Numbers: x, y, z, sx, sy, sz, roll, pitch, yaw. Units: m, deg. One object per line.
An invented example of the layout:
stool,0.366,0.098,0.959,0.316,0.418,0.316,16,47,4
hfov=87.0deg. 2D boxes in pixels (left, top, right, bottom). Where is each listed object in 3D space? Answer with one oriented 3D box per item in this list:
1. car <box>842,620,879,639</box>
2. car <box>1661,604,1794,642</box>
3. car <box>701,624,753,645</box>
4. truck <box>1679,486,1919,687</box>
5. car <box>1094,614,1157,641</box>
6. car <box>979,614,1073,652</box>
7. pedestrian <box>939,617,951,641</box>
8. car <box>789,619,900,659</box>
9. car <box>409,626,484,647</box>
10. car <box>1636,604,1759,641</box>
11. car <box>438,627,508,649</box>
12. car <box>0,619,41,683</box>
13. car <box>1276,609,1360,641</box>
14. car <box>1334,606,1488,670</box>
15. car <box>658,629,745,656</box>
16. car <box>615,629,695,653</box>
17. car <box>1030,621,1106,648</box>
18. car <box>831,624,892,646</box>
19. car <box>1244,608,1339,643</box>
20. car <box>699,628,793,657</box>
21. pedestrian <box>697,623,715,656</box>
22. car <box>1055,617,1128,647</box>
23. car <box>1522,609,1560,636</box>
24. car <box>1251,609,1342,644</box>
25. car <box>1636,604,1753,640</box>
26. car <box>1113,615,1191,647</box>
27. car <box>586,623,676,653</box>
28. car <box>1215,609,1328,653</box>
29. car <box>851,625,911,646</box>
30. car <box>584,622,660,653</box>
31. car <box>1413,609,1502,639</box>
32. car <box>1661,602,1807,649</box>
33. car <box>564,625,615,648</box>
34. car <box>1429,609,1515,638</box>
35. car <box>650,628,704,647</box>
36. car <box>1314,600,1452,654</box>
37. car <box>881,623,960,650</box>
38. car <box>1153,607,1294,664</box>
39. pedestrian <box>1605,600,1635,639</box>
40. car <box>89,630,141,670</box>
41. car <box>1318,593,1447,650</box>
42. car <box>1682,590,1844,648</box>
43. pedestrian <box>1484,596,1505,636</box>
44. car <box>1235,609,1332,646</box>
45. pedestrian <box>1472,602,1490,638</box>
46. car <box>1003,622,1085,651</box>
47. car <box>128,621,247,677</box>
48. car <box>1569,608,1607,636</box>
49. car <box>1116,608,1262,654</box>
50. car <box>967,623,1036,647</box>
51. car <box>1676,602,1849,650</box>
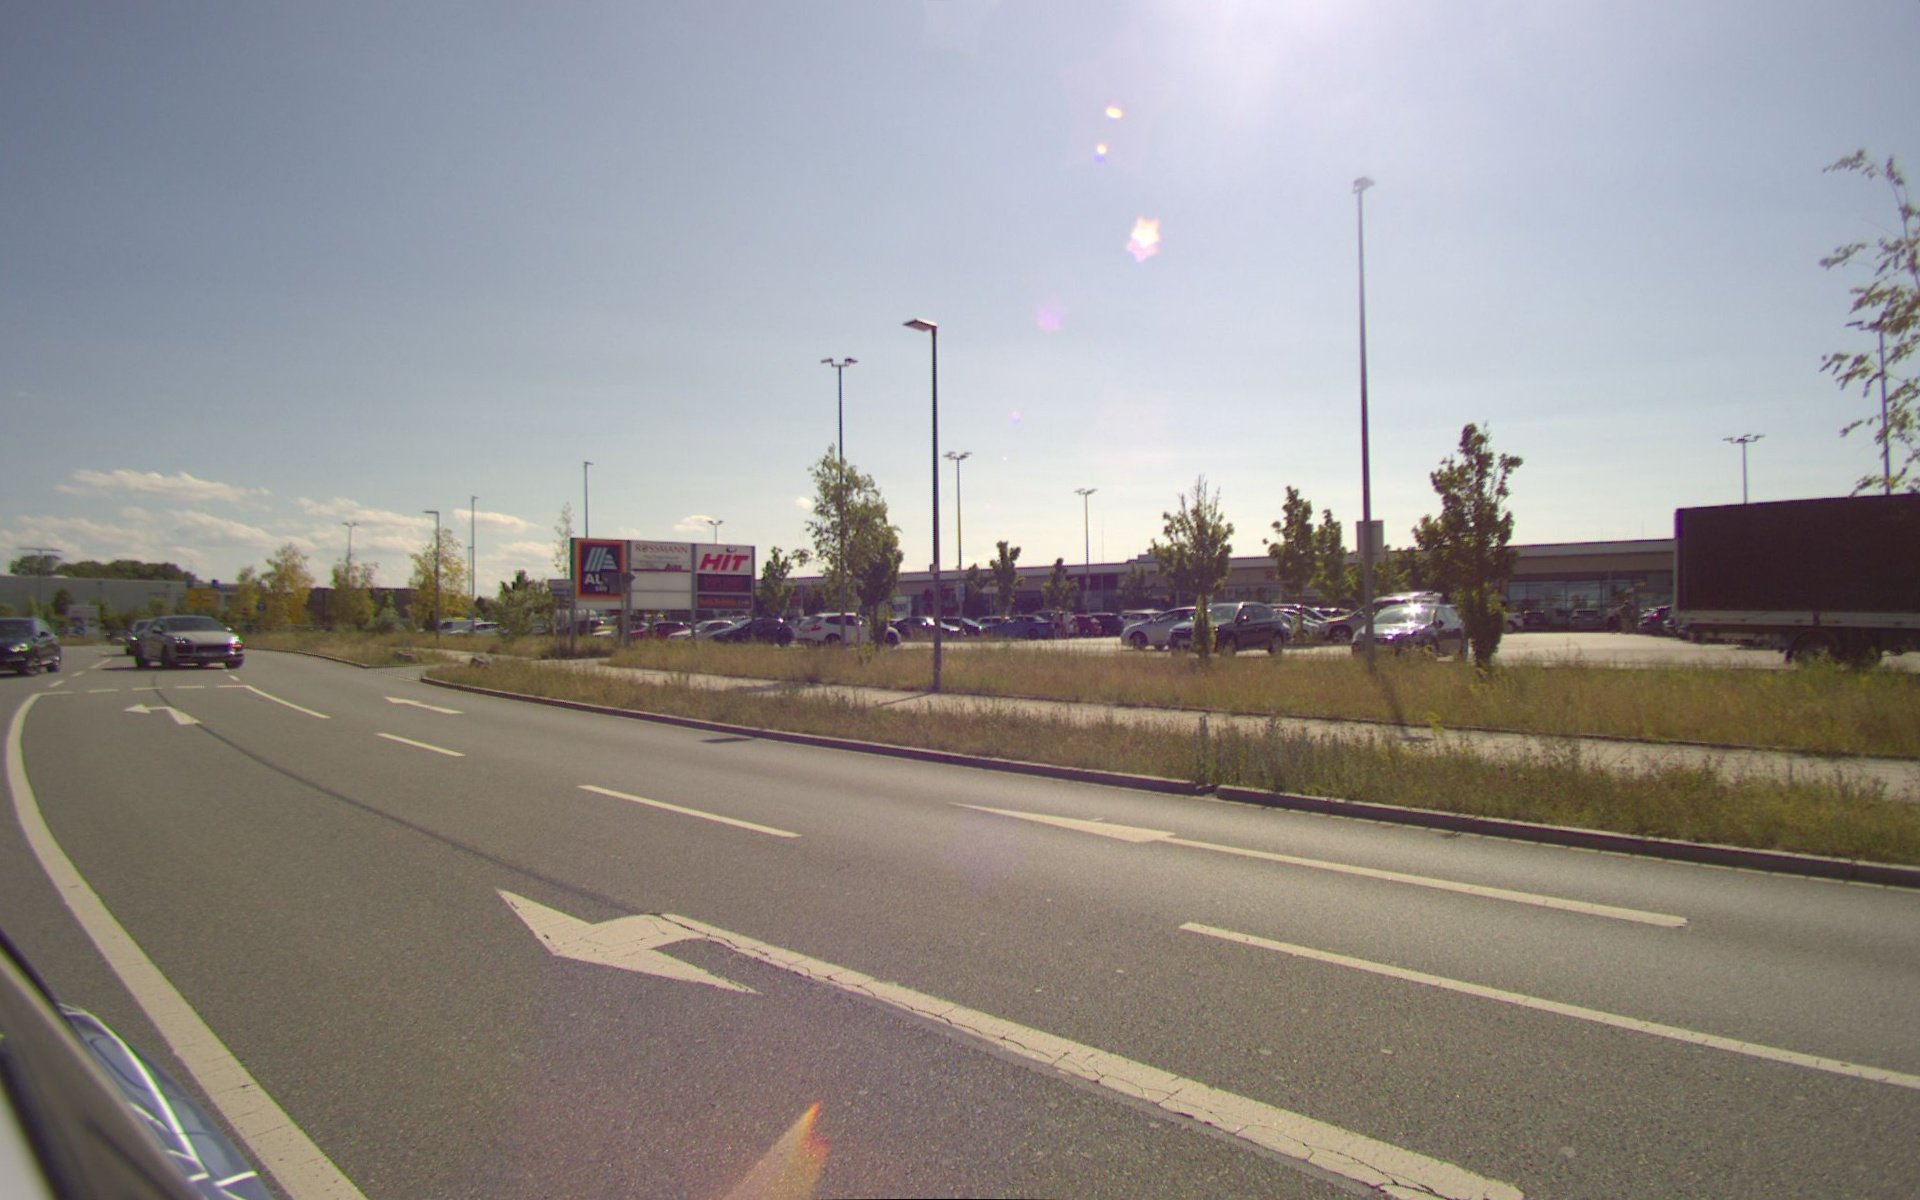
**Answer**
car,-9.616,2.874,98.244,1.707,1.821,4.319,-1,-2,24
car,33.123,1.016,43.837,4.365,1.604,1.819,-1,-2,31
car,-20.162,2.961,87.371,4.569,1.754,1.698,-2,-2,32
truck,17.627,-0.231,18.076,2.284,3.491,7.518,0,-2,-27
car,12.293,2.059,75.146,4.336,1.974,1.700,-2,-2,29
car,3.574,1.824,54.975,4.813,2.001,1.700,-2,-2,29
pedestrian,-1.139,2.251,77.595,0.778,1.838,0.564,-1,-2,31
car,-4.745,1.577,41.802,4.159,1.559,1.921,1,-2,-39
car,-41.859,2.952,82.573,1.996,1.685,5.133,-2,-2,36
car,33.861,1.047,46.611,4.365,1.645,1.819,-1,-2,31
car,-38.075,2.962,79.191,1.999,1.685,4.541,-2,-3,42
car,-27.600,1.504,28.830,1.872,1.692,4.474,0,-3,-39
car,20.493,1.453,57.985,4.359,1.738,1.900,-1,-2,26
car,10.870,0.868,24.255,1.976,1.394,4.373,-2,-2,44
car,-13.695,2.216,53.728,4.092,1.358,1.939,1,-3,-40
car,-18.058,2.409,60.026,4.092,1.358,1.939,1,-3,-40
car,6.652,2.156,62.472,4.336,1.588,1.700,-2,-2,29
car,-7.230,2.593,74.160,4.336,1.584,1.700,-2,-2,29
car,16.766,1.303,51.188,4.356,1.739,1.901,-1,-2,25
car,-10.510,2.089,49.767,4.092,1.358,1.939,1,-3,-40
pedestrian,-13.301,2.044,52.934,0.755,1.708,0.579,1,-2,-40
car,8.376,2.041,64.717,4.336,1.865,1.700,-2,-2,29
car,39.112,1.519,68.148,1.994,1.798,3.955,-1,-2,33
car,17.736,1.395,53.384,4.359,1.807,1.900,-1,-2,26
car,35.477,1.081,49.032,4.365,1.635,1.819,-1,-2,31
car,9.798,1.541,51.494,3.939,1.559,1.920,1,-2,-42
car,-22.492,2.584,69.392,2.000,1.980,5.620,-2,-3,42
car,13.447,1.332,43.796,4.365,1.817,1.897,-1,-2,31
car,-5.961,2.706,76.252,4.336,1.544,1.700,-2,-2,29
car,-21.265,2.325,63.717,4.094,1.875,1.935,1,-3,-42
car,27.854,1.361,56.670,4.365,1.604,1.819,-1,-2,31
car,30.726,1.014,40.357,4.365,1.787,1.819,-1,-2,31
car,-42.166,4.159,115.388,1.930,2.607,5.666,-2,-2,27
car,29.850,1.381,59.019,4.365,1.614,1.819,-1,-2,31
car,-23.130,3.066,82.731,4.334,1.538,1.701,-2,-2,28
car,15.127,0.975,36.270,4.365,1.837,1.819,-1,-2,31
car,-2.312,2.122,58.429,4.336,1.528,1.700,-2,-2,29
car,7.460,0.965,28.381,1.839,1.469,4.524,-2,-2,44
pedestrian,35.604,1.056,54.597,1.246,2.064,1.081,-1,-2,30
car,-38.278,2.243,45.898,1.730,1.700,4.389,1,-3,-39
car,16.236,0.845,38.933,4.365,2.080,1.819,-1,-2,31
car,29.263,0.720,37.088,4.365,2.009,1.819,-1,-2,31
pedestrian,23.354,0.705,44.215,0.717,1.762,0.654,-1,-2,31
car,15.645,1.325,48.916,4.349,1.731,1.904,-1,-2,20
pedestrian,25.507,0.978,49.552,0.717,1.762,0.654,-1,-2,31
car,4.737,2.068,57.491,4.336,1.593,1.700,-2,-2,29
car,-25.185,1.604,32.936,4.773,1.656,2.088,-4,-3,40
car,41.339,1.456,66.579,1.994,1.798,3.955,-1,-2,33
car,7.887,1.073,35.069,4.607,1.523,1.818,-1,-2,33
car,2.758,2.339,67.890,4.336,1.556,1.700,-2,-2,29
car,27.656,0.916,35.083,4.361,1.574,1.820,-1,-2,28
